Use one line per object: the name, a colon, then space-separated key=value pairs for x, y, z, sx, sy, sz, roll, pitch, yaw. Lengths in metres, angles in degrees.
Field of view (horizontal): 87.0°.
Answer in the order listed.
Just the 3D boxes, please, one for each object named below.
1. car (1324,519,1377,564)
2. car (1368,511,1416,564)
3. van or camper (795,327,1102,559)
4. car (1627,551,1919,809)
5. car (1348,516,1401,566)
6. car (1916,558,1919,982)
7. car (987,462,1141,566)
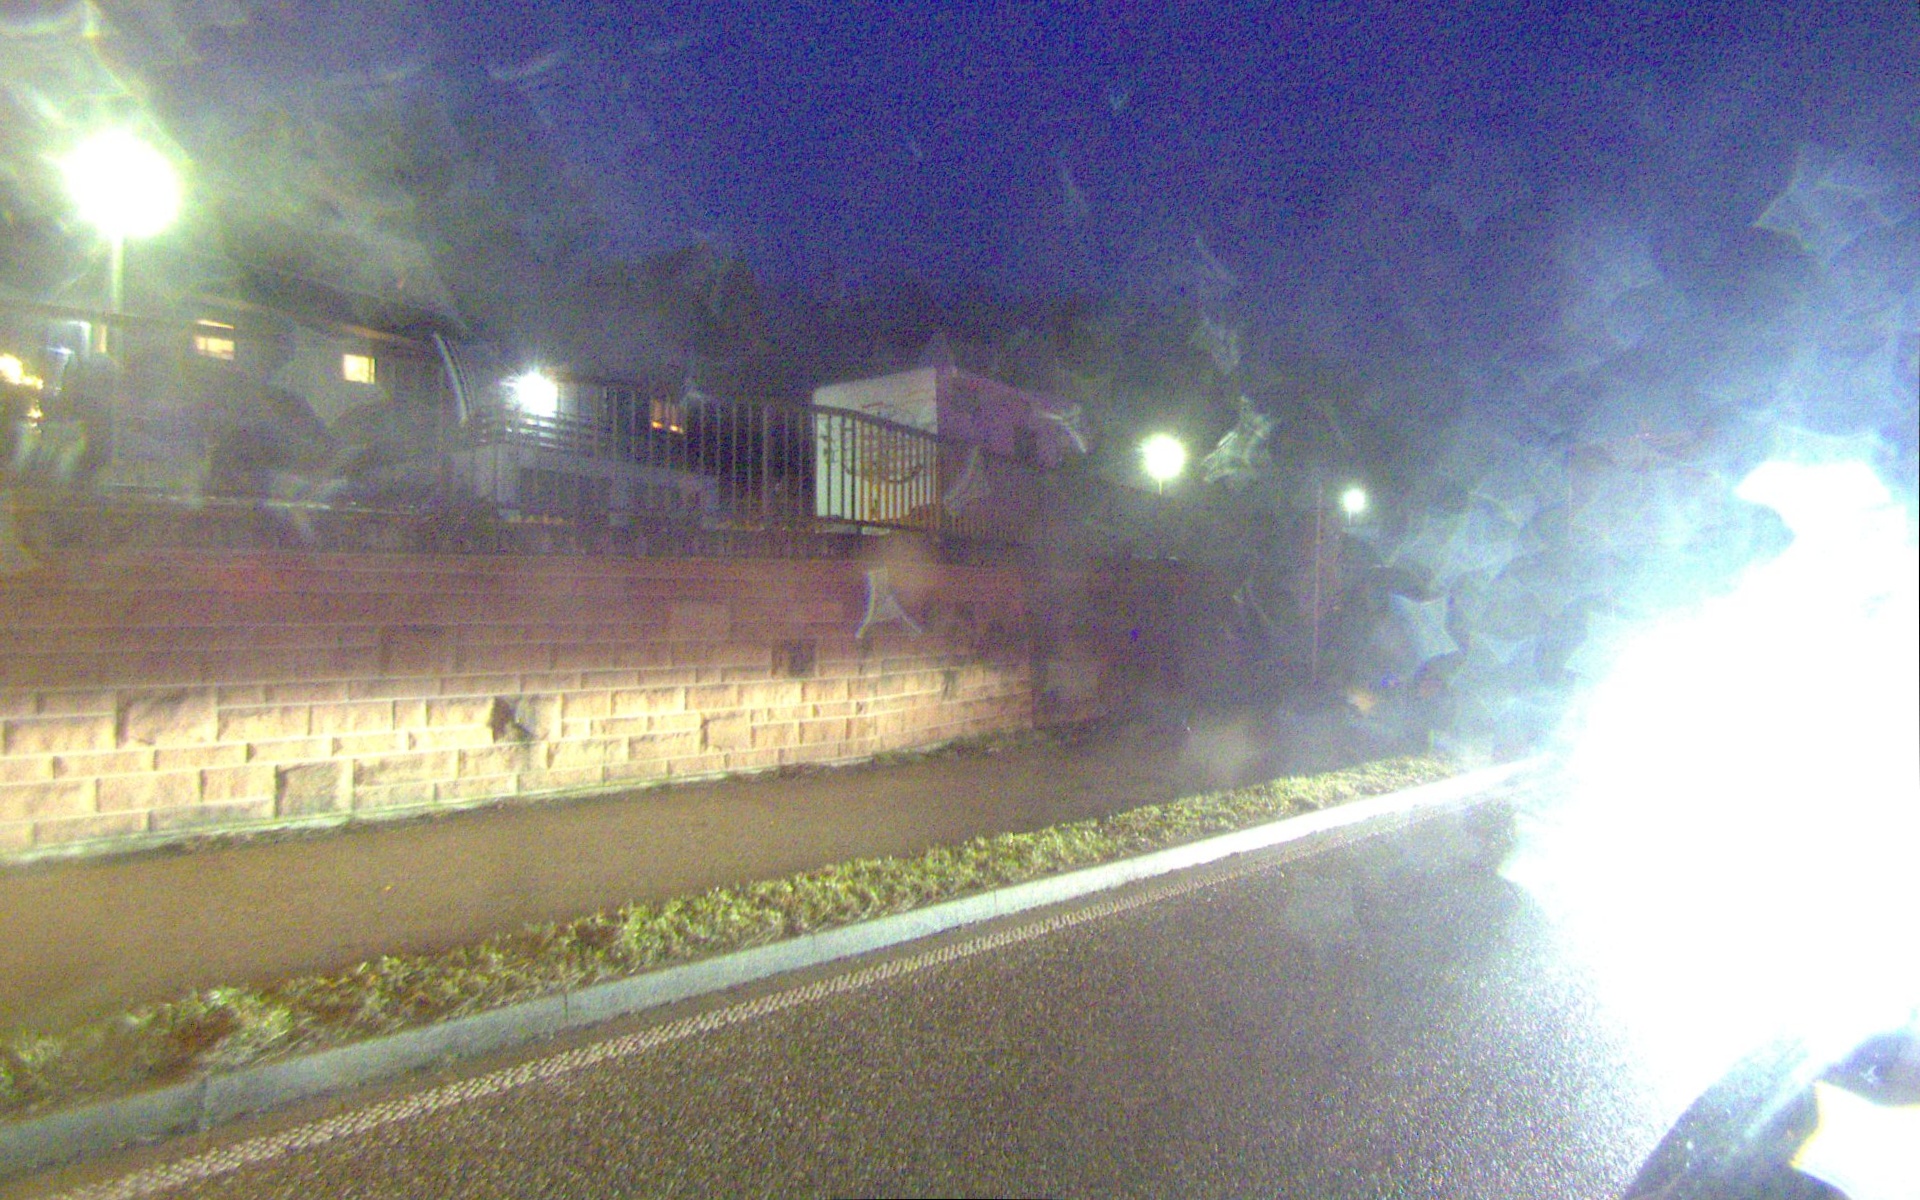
car: x=19.244 y=-2.822 z=49.808 sx=1.721 sy=2.039 sz=3.658 roll=0 pitch=0 yaw=32
car: x=25.106 y=-3.567 z=58.760 sx=1.922 sy=2.809 sz=4.206 roll=0 pitch=0 yaw=32
van or camper: x=0.100 y=-2.172 z=16.256 sx=2.395 sy=2.828 sz=5.712 roll=0 pitch=0 yaw=30
car: x=8.193 y=0.515 z=8.804 sx=4.840 sy=1.757 sz=1.843 roll=-1 pitch=0 yaw=-27
car: x=22.237 y=-3.086 z=54.239 sx=1.922 sy=2.451 sz=4.206 roll=0 pitch=0 yaw=32
car: x=5.585 y=0.632 z=4.280 sx=4.278 sy=1.602 sz=1.825 roll=-1 pitch=0 yaw=-41
car: x=2.475 y=-1.867 z=23.272 sx=1.985 sy=2.039 sz=3.954 roll=0 pitch=0 yaw=32
